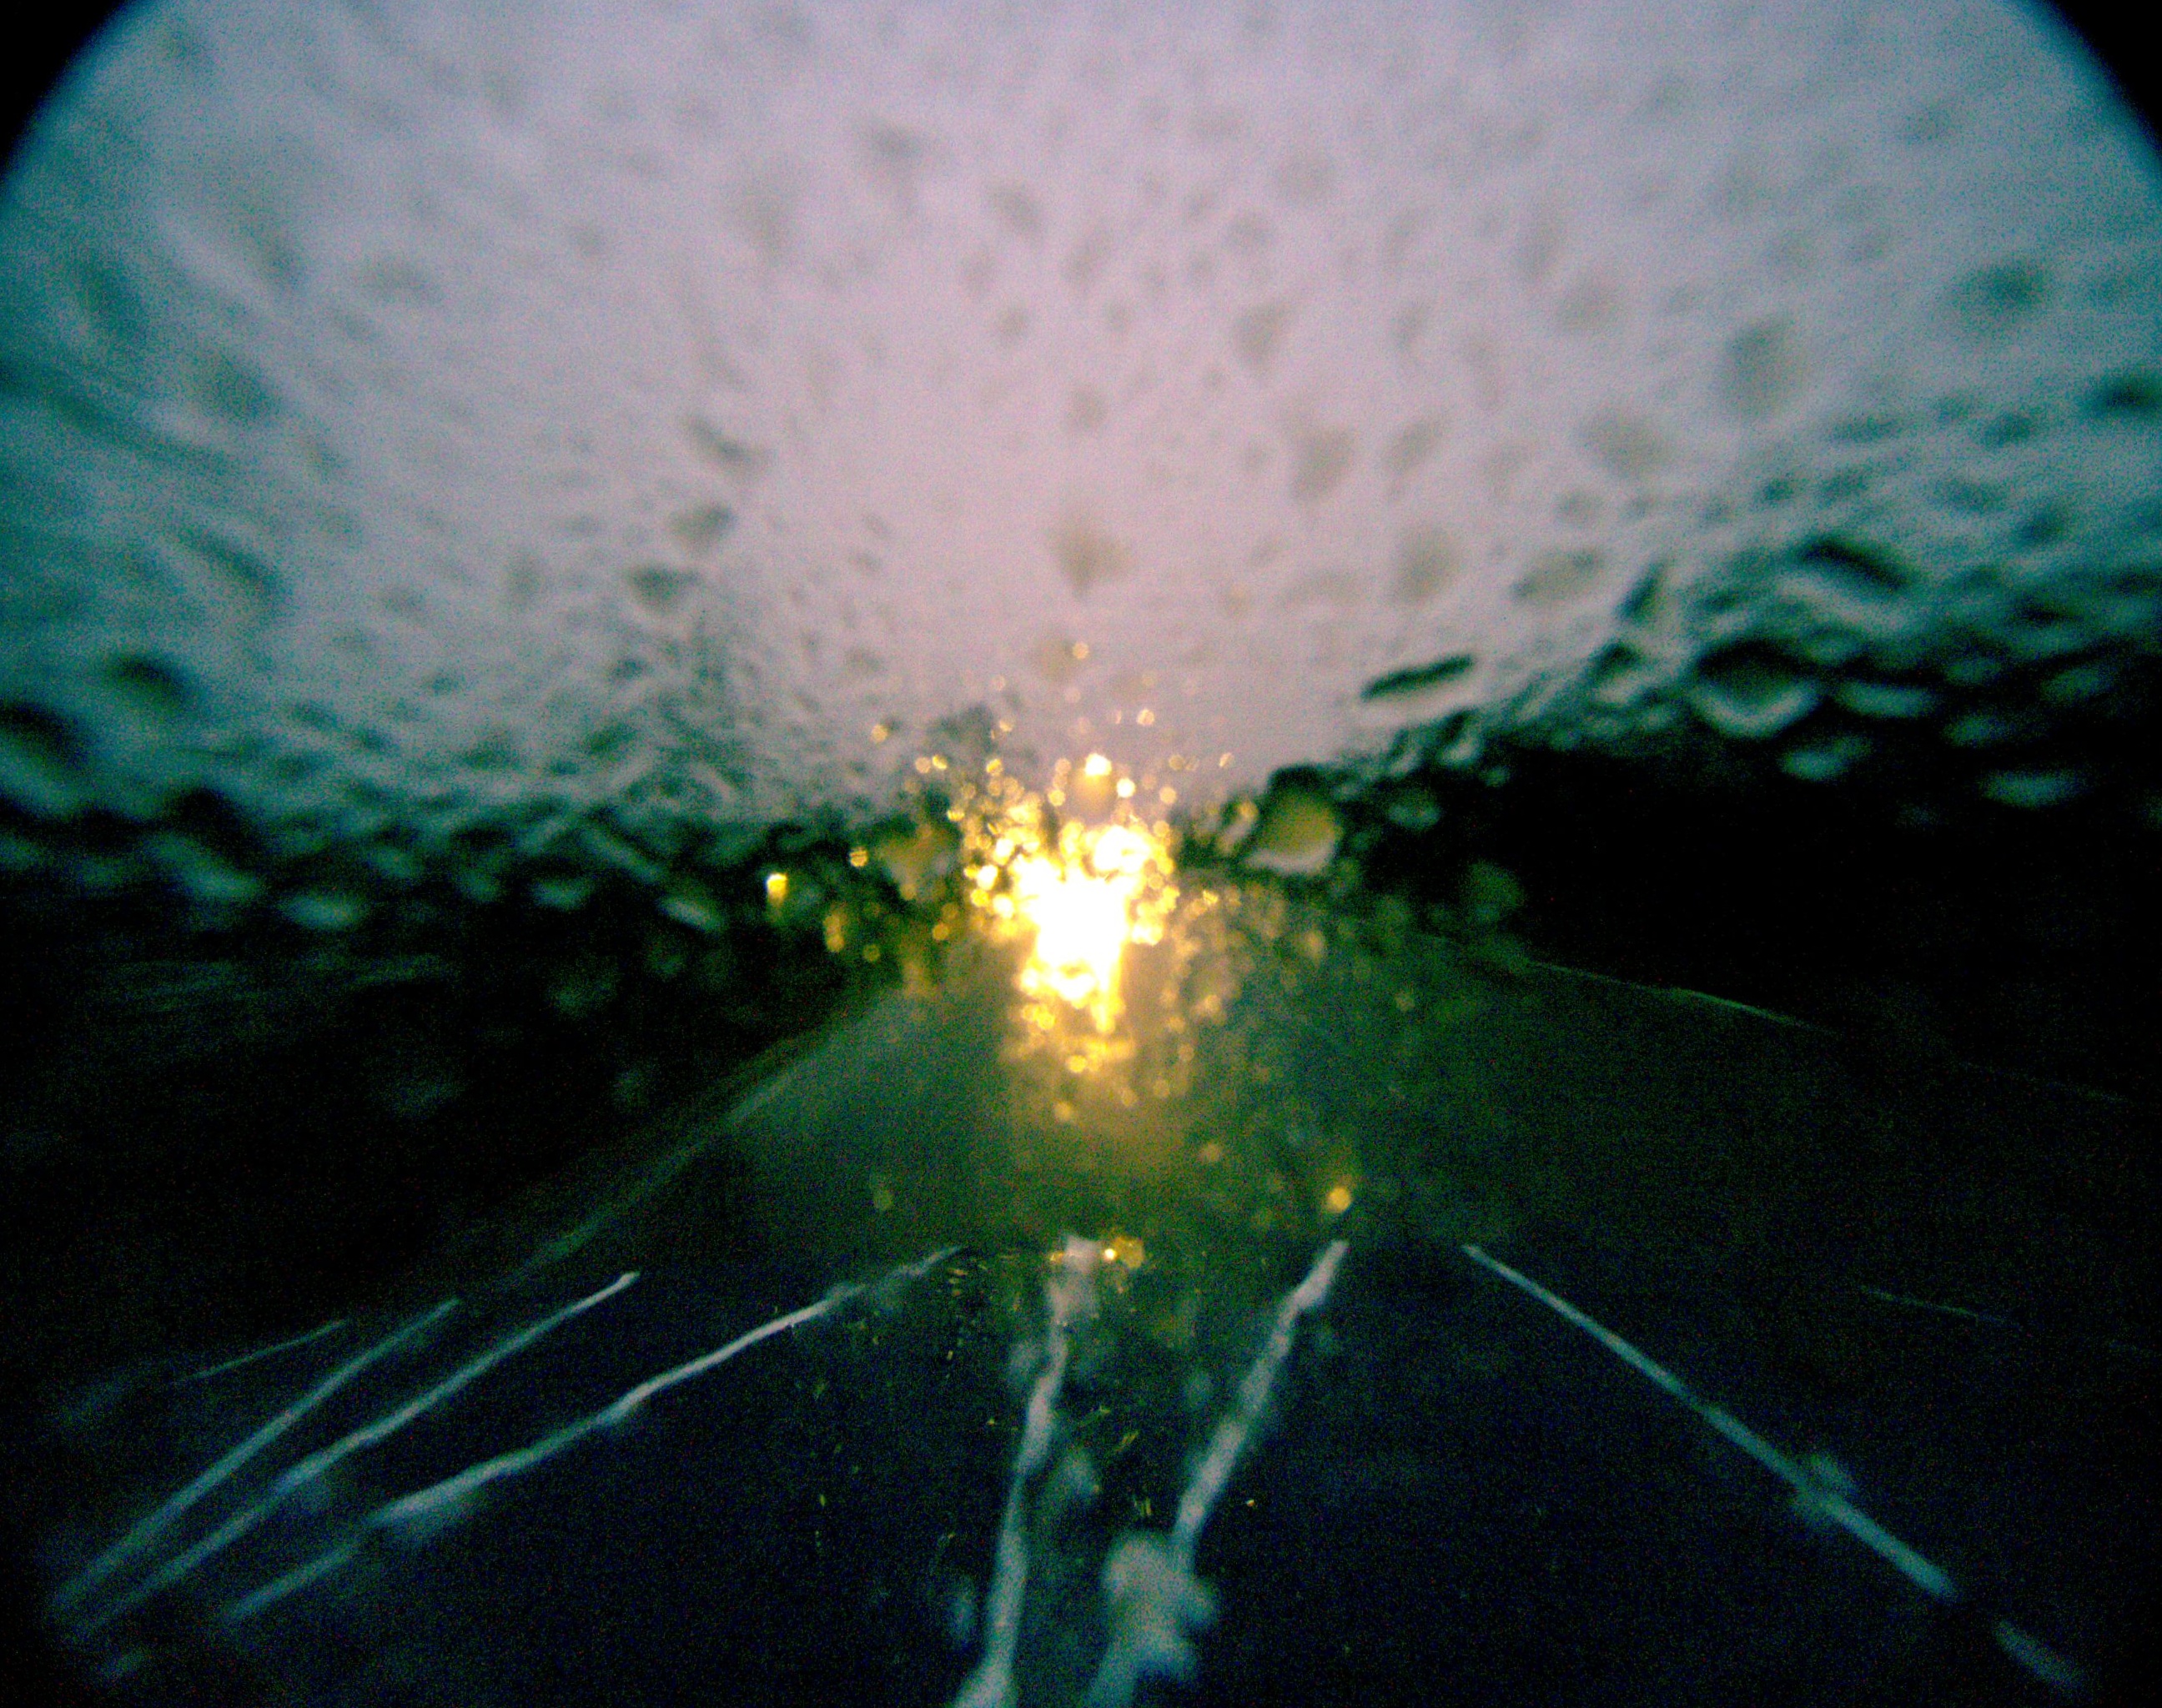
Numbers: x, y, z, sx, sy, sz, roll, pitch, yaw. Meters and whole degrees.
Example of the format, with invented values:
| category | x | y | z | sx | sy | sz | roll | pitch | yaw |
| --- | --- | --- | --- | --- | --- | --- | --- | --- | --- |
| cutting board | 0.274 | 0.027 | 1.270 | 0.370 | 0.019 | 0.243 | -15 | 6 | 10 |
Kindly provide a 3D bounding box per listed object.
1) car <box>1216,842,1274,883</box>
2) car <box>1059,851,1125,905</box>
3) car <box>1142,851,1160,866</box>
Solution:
| category | x | y | z | sx | sy | sz | roll | pitch | yaw |
| --- | --- | --- | --- | --- | --- | --- | --- | --- | --- |
| car | 7.813 | 0.378 | 36.553 | 1.998 | 1.774 | 4.000 | -3 | 1 | 2 |
| car | 0.480 | 0.771 | 26.401 | 1.998 | 1.601 | 4.001 | -3 | 1 | 4 |
| car | 7.787 | 0.530 | 84.532 | 1.780 | 1.599 | 3.773 | 0 | 1 | 2 |
